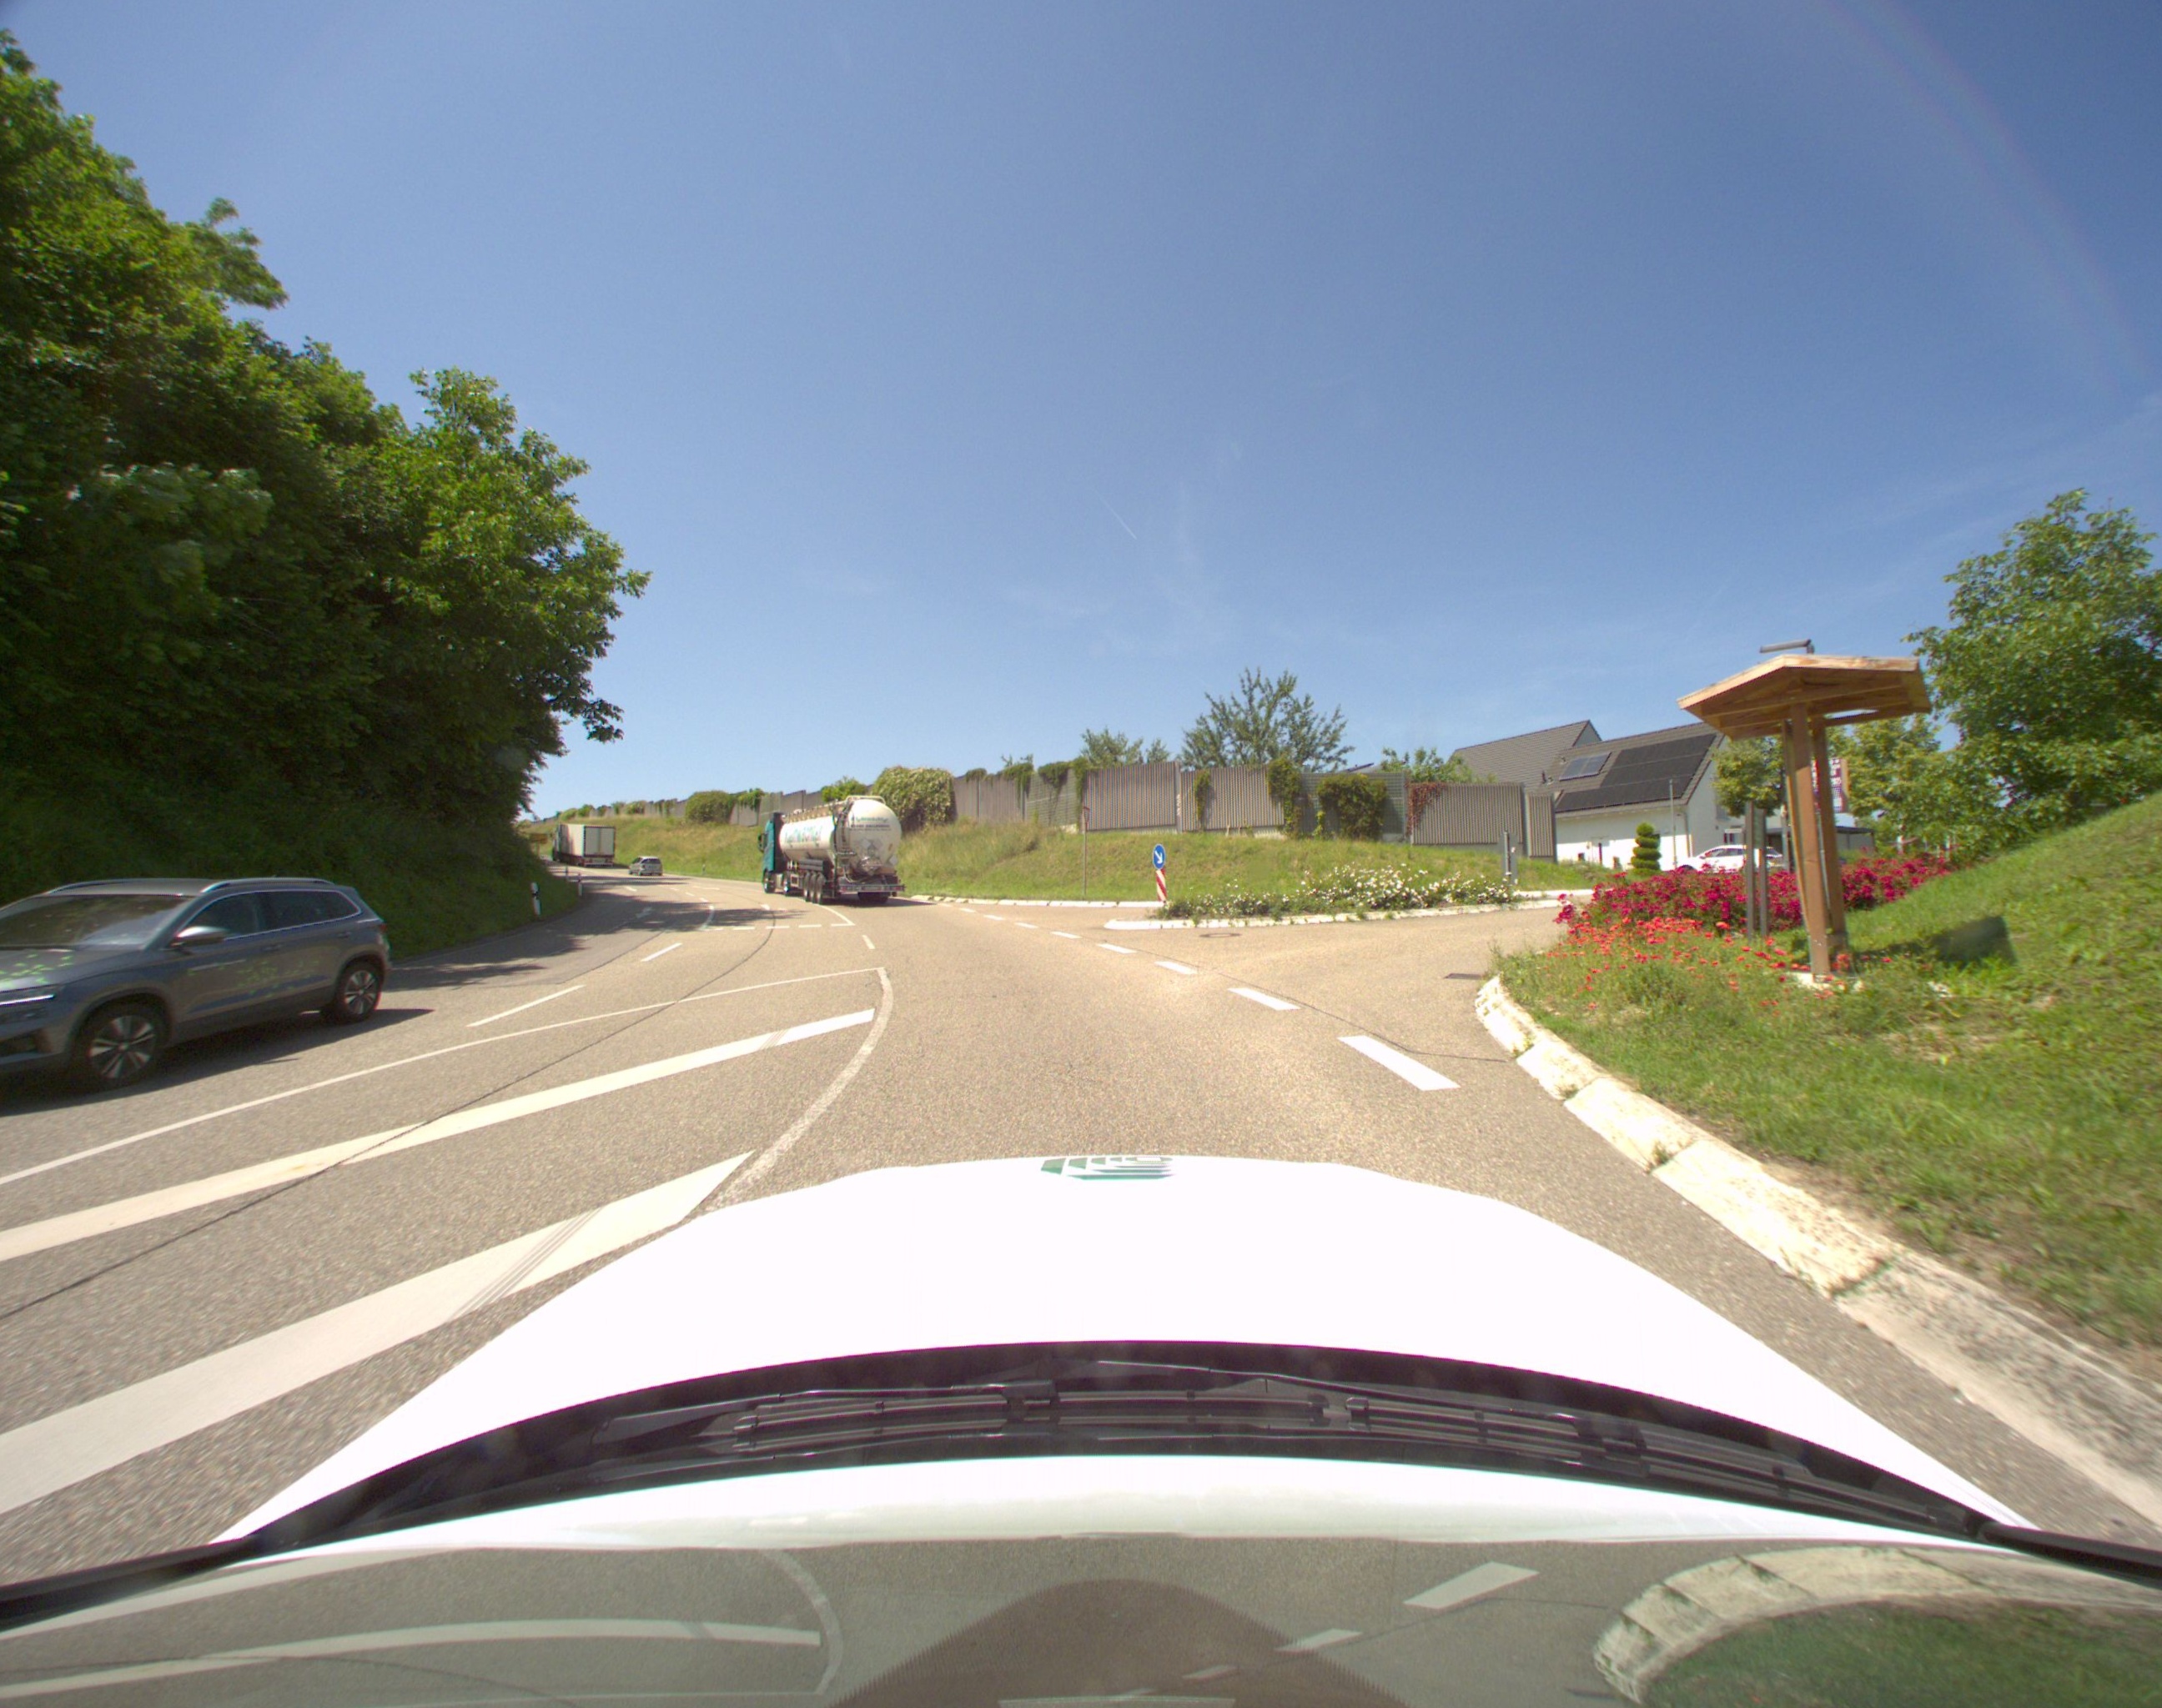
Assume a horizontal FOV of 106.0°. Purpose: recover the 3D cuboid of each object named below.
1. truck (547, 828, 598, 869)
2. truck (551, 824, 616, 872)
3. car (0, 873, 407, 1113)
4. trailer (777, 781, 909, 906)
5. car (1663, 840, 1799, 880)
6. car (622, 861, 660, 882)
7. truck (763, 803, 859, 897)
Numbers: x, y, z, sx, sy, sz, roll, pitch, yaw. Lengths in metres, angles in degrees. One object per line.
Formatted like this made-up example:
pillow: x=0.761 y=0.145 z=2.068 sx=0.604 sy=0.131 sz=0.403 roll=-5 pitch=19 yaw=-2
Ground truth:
truck: x=-52.701 y=-0.564 z=84.264 sx=3.217 sy=3.934 sz=8.154 roll=3 pitch=-2 yaw=-40
truck: x=-48.897 y=-0.665 z=79.872 sx=3.217 sy=4.310 sz=11.661 roll=5 pitch=-2 yaw=-41
car: x=-8.498 y=1.016 z=7.449 sx=1.792 sy=1.605 sz=4.163 roll=-1 pitch=-1 yaw=-11
trailer: x=-10.080 y=-0.368 z=33.190 sx=2.677 sy=4.188 sz=11.794 roll=-1 pitch=1 yaw=-29
car: x=30.391 y=0.266 z=38.258 sx=2.003 sy=1.655 sz=4.566 roll=4 pitch=-2 yaw=-26
car: x=-35.195 y=1.372 z=65.143 sx=1.662 sy=1.510 sz=3.594 roll=5 pitch=-3 yaw=-44
truck: x=-12.685 y=-0.177 z=37.828 sx=2.745 sy=3.929 sz=7.192 roll=-1 pitch=0 yaw=-31
